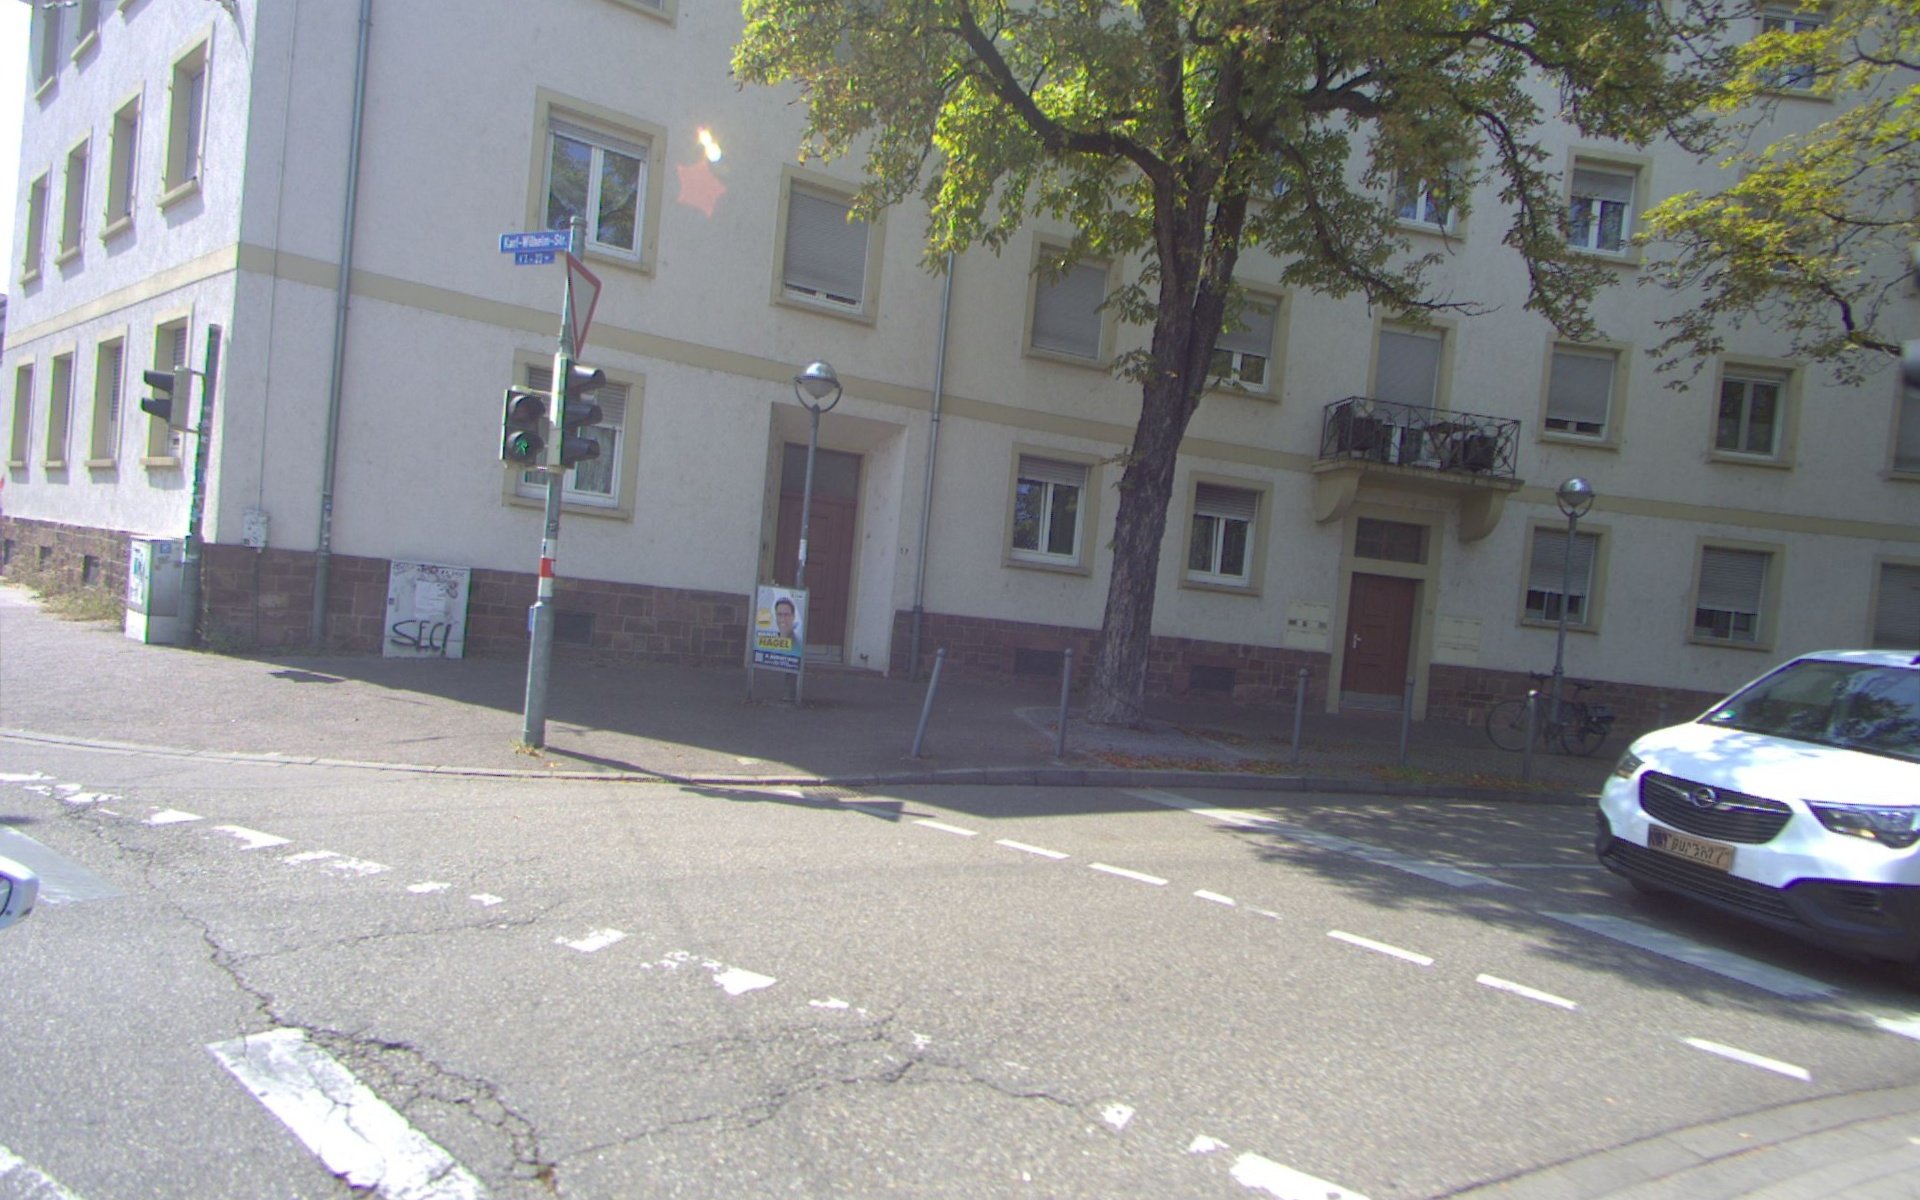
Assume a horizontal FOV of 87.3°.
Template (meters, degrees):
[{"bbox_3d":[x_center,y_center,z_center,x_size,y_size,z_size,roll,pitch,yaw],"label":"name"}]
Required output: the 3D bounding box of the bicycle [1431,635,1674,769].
[{"bbox_3d":[8.201,1.394,14.026,2.641,1.472,1.021,6,2,-2],"label":"bicycle"}]

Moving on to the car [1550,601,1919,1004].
[{"bbox_3d":[6.190,1.164,6.245,4.350,1.835,1.797,6,1,-18],"label":"car"}]
